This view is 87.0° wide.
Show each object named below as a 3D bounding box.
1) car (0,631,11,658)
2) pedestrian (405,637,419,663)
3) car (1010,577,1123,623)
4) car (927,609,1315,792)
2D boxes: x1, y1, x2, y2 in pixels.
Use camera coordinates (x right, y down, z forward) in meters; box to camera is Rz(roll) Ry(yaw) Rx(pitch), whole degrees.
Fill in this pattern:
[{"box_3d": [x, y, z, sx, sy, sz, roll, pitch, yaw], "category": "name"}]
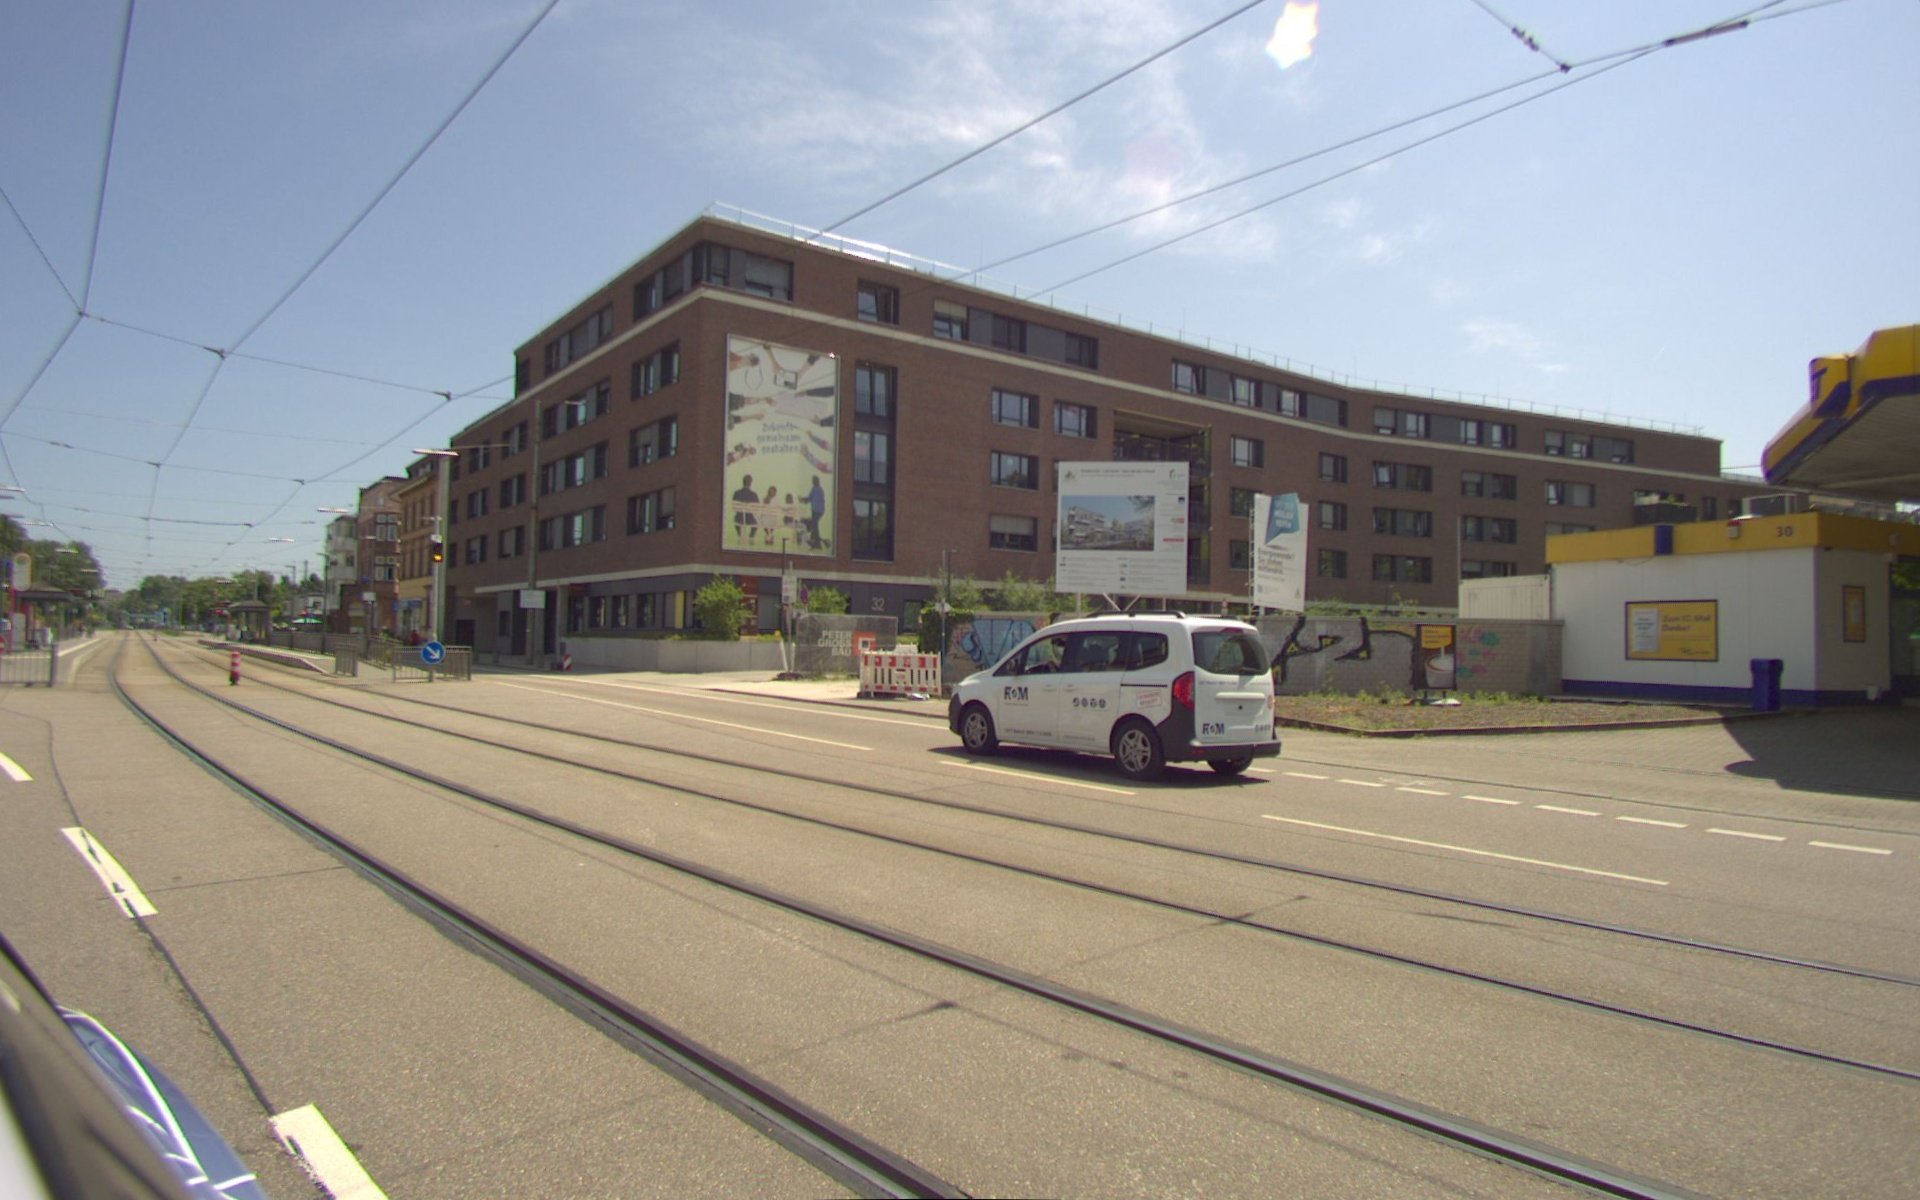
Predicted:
[{"box_3d": [-58.943, 2.687, 61.504, 1.724, 1.567, 4.489, 1, -2, -45], "category": "car"}, {"box_3d": [-35.252, 3.212, 65.141, 0.595, 1.608, 0.716, 3, -3, -42], "category": "pedestrian"}, {"box_3d": [3.669, 0.037, 35.508, 1.708, 1.479, 4.010, 1, -2, -35], "category": "car"}, {"box_3d": [1.774, 1.103, 12.455, 1.968, 1.813, 4.561, 4, -4, -39], "category": "car"}]
